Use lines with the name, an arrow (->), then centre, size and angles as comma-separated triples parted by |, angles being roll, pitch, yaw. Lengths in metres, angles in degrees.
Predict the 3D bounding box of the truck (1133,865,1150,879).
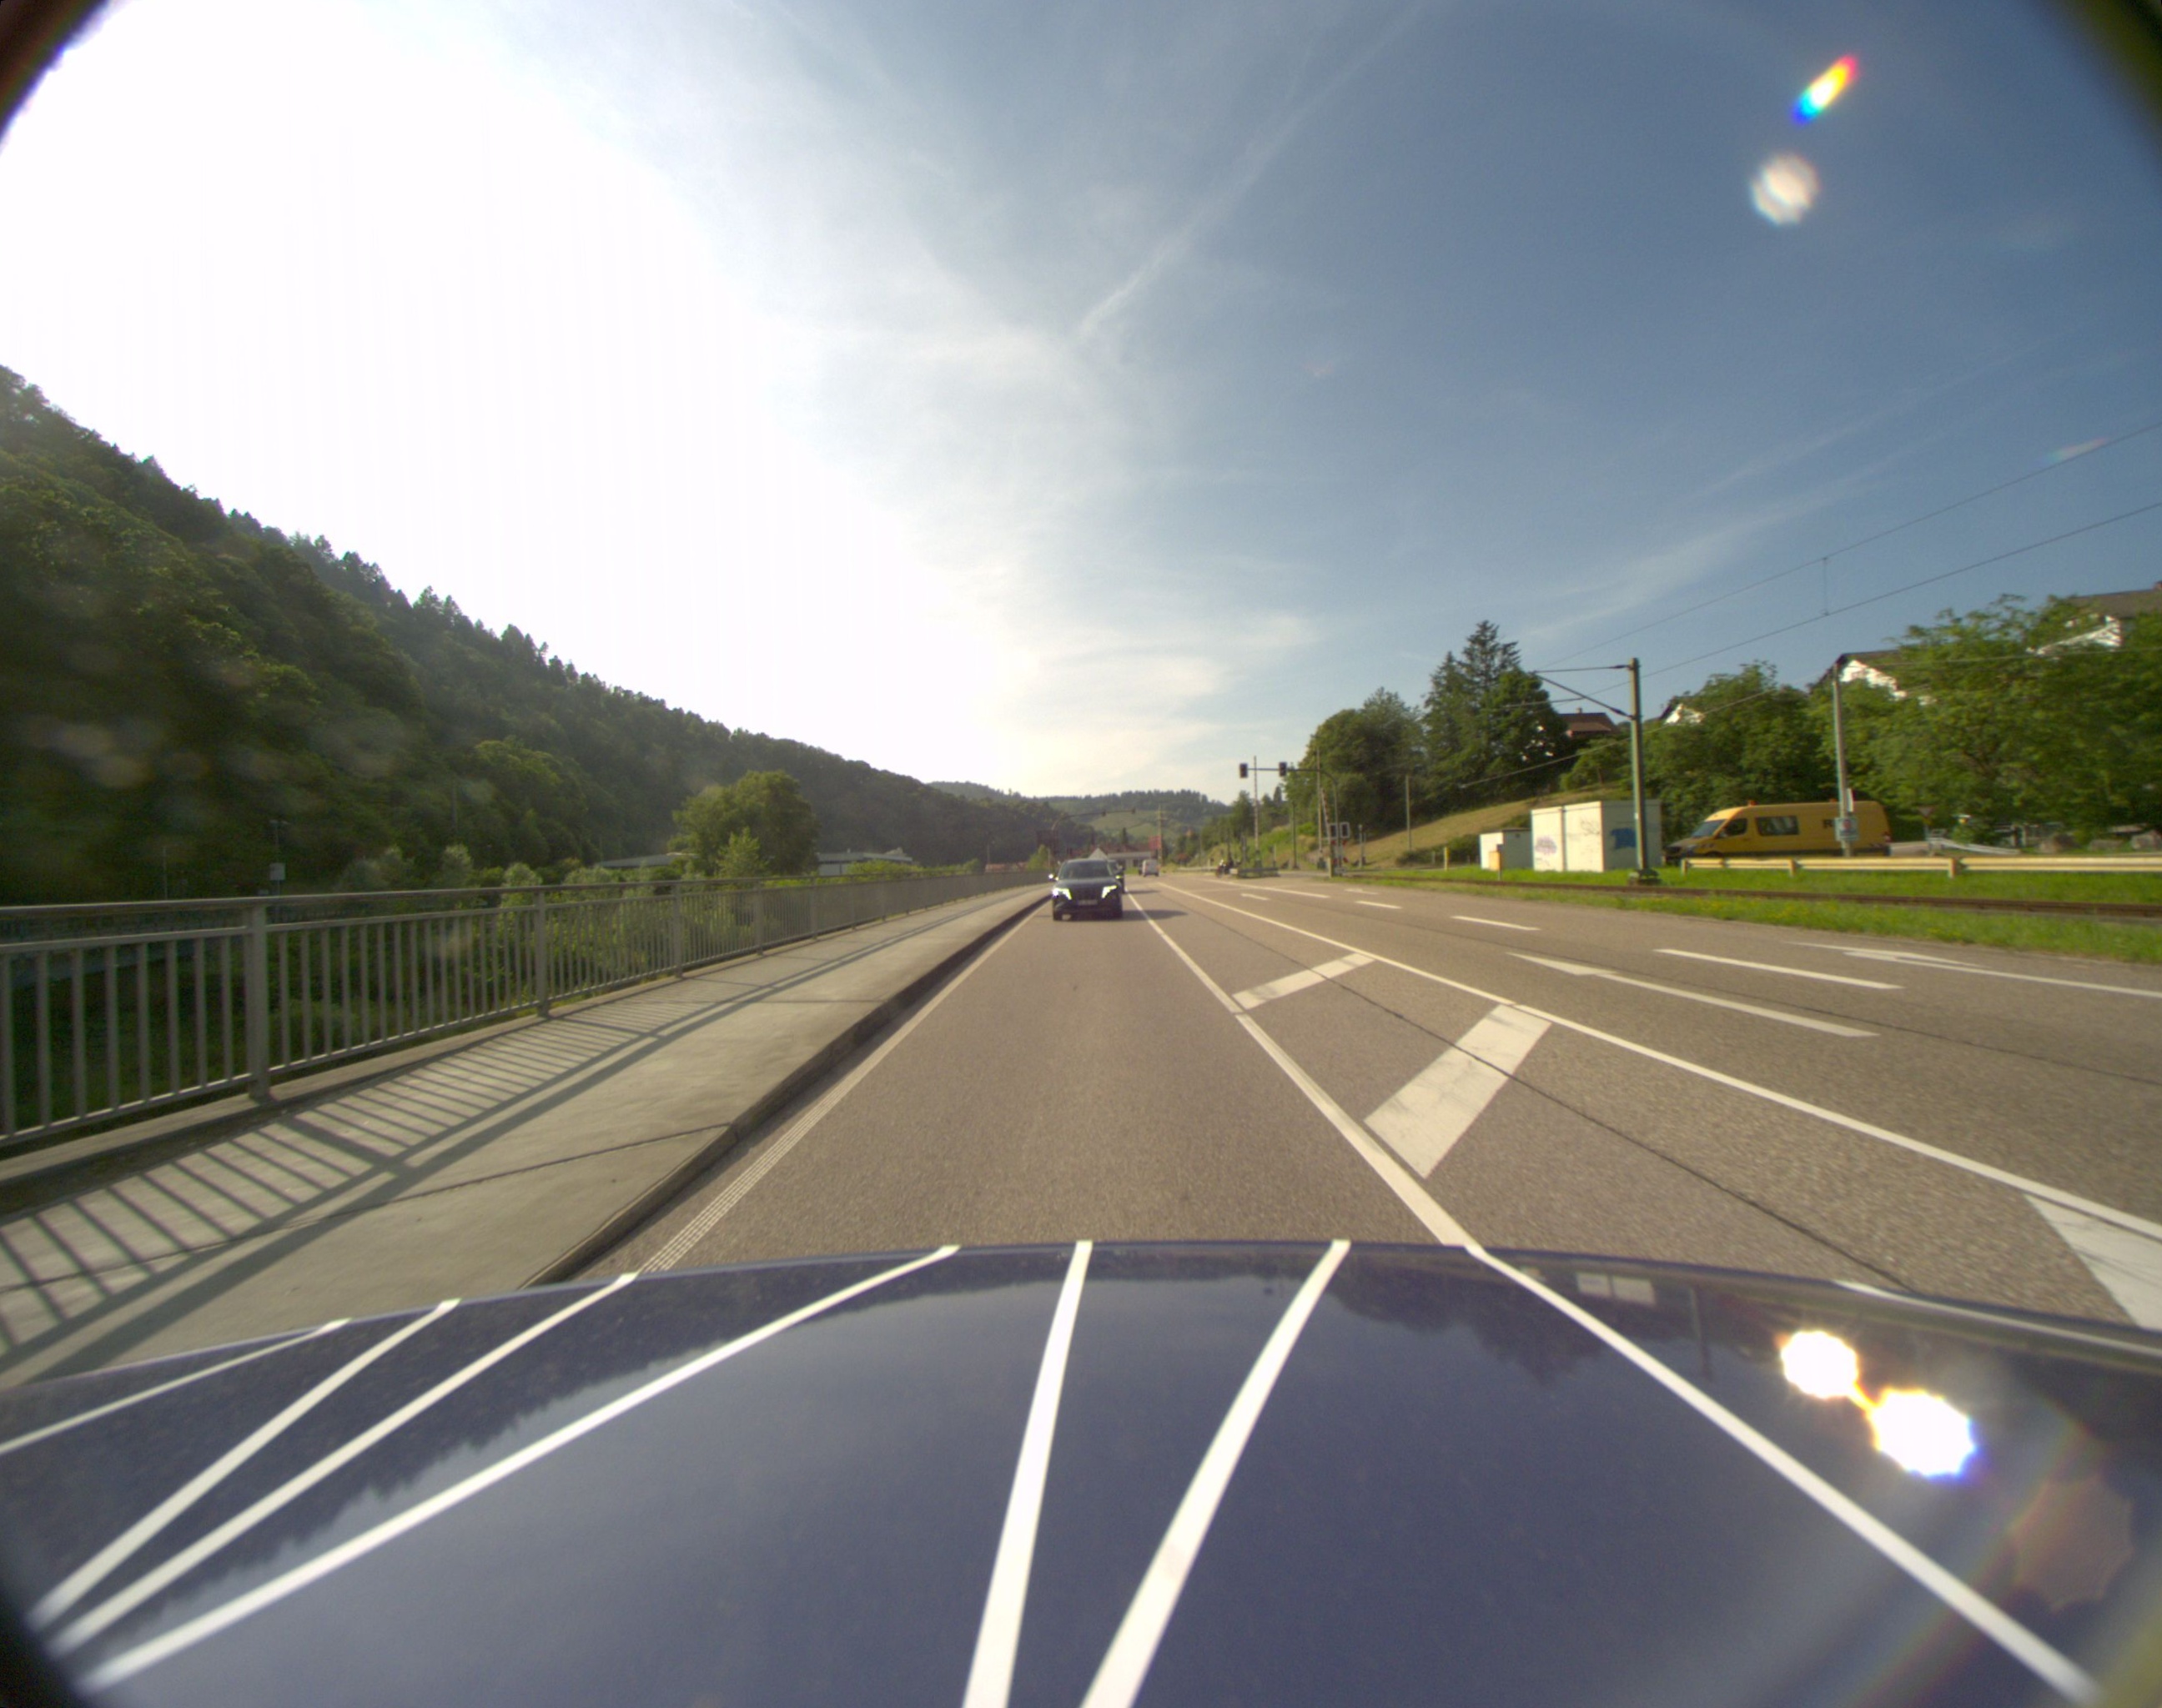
truck -> 11.133, 3.268, 139.484 | 2.453, 2.252, 6.281 | -4, -1, -1

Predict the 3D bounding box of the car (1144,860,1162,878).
car -> 10.094, 2.094, 106.448 | 2.124, 2.421, 5.230 | -3, -1, 3

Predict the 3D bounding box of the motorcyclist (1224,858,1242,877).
motorcyclist -> 13.090, 1.177, 65.494 | 1.186, 1.535, 0.991 | -4, 0, -12

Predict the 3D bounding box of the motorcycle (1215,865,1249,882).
motorcycle -> 13.022, 1.680, 65.468 | 2.594, 1.261, 1.004 | -4, 0, -12

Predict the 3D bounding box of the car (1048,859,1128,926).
car -> 0.279, 1.048, 22.011 | 1.998, 1.660, 5.512 | -1, -1, 2

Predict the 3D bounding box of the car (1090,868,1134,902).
car -> 1.508, 1.512, 38.269 | 1.919, 1.455, 4.000 | -3, -1, 0

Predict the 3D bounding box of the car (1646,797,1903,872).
car -> 27.677, -0.716, 30.711 | 7.076, 2.442, 2.951 | -3, -1, 11
